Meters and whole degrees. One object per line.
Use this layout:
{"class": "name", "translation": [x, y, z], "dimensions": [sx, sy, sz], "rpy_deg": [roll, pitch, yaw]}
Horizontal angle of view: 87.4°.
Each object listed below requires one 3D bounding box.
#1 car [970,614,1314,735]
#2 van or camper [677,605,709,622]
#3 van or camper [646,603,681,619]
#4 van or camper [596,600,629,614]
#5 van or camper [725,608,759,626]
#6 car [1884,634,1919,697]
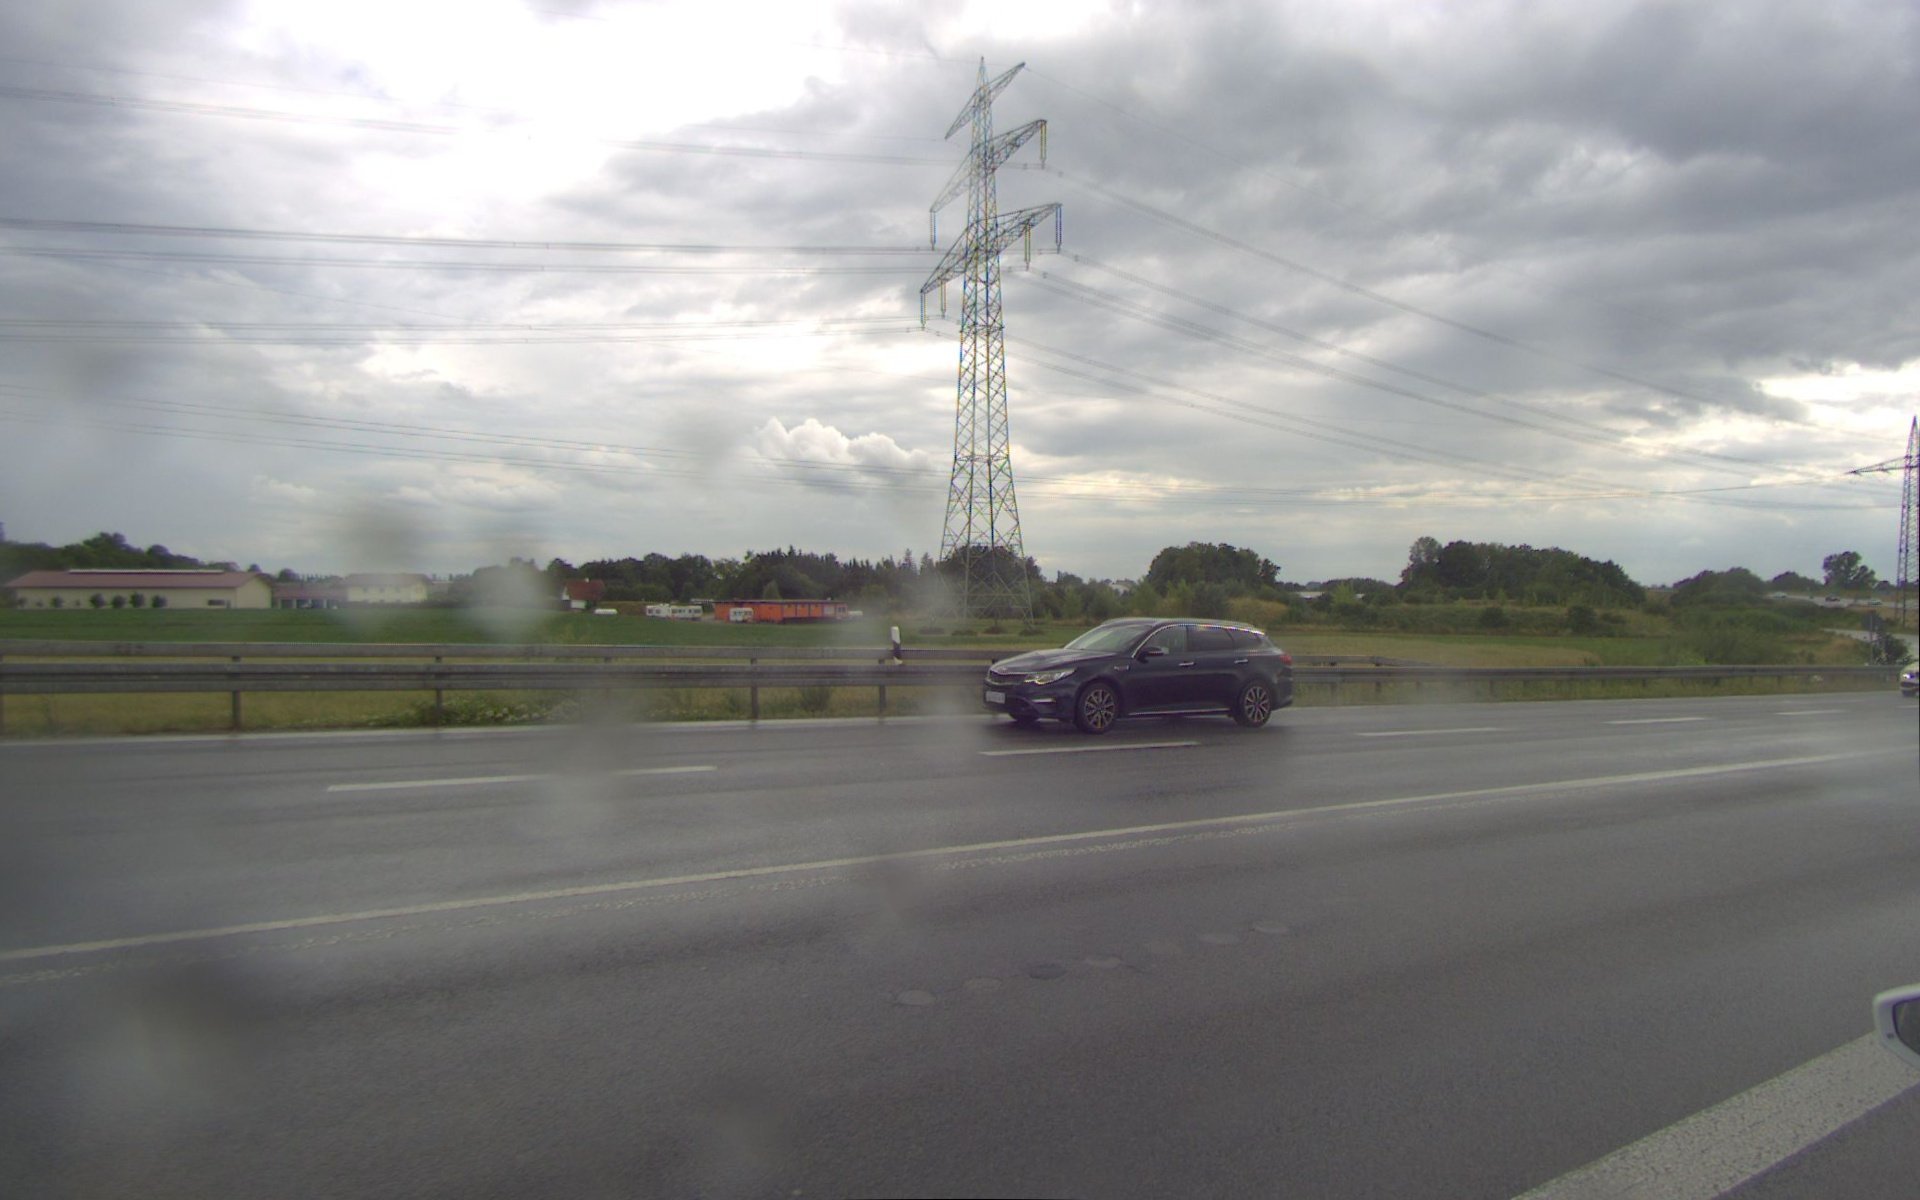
{"class": "car", "translation": [2.605, 0.972, 14.024], "dimensions": [4.677, 1.445, 1.763], "rpy_deg": [2, -1, -29]}
{"class": "van or camper", "translation": [-46.087, 2.270, 173.306], "dimensions": [5.626, 2.667, 2.320], "rpy_deg": [3, 1, 37]}
{"class": "van or camper", "translation": [-54.241, 1.999, 183.942], "dimensions": [2.297, 2.667, 5.683], "rpy_deg": [3, 1, 44]}
{"class": "van or camper", "translation": [-68.296, 1.352, 197.524], "dimensions": [2.297, 2.667, 5.683], "rpy_deg": [3, 1, 44]}
{"class": "van or camper", "translation": [-35.445, 2.790, 163.170], "dimensions": [5.626, 2.667, 2.320], "rpy_deg": [3, 1, 37]}
{"class": "car", "translation": [28.182, 1.843, 28.272], "dimensions": [4.592, 1.682, 1.933], "rpy_deg": [1, 1, -31]}
